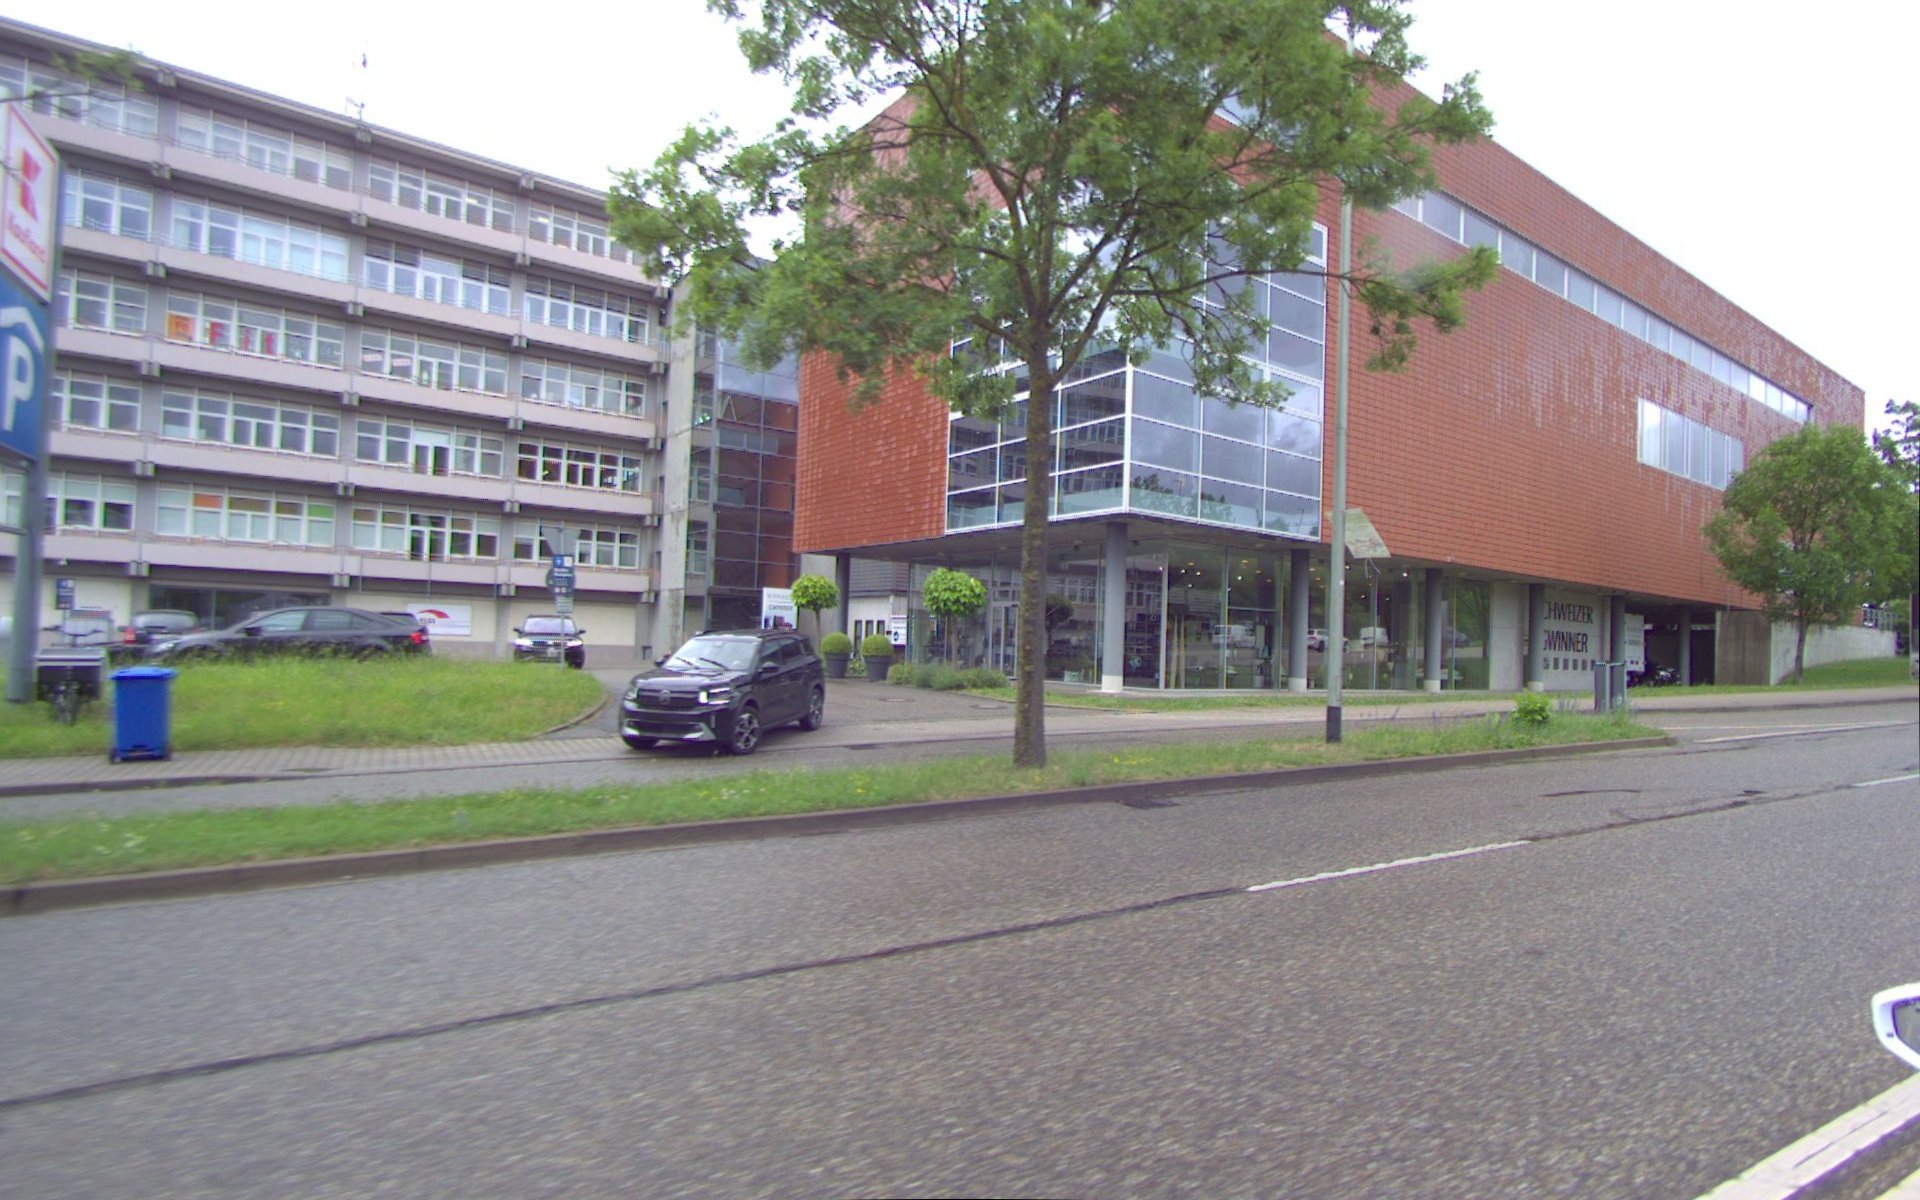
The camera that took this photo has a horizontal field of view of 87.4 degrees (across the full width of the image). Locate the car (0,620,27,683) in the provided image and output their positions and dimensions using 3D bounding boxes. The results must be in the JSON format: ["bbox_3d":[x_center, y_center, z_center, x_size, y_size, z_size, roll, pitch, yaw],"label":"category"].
[{"bbox_3d":[-26.585,1.353,26.993,1.831,1.530,4.243,0,0,-38],"label":"car"}]

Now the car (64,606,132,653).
[{"bbox_3d":[-35.024,1.153,40.886,1.783,1.755,3.958,0,0,-36],"label":"car"}]

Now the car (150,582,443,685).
[{"bbox_3d":[-12.754,0.578,19.636,4.558,1.797,2.126,0,0,-33],"label":"car"}]

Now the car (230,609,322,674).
[{"bbox_3d":[-18.396,1.046,26.955,1.803,1.530,4.077,0,0,-38],"label":"car"}]

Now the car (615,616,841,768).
[{"bbox_3d":[-3.244,1.206,14.999,1.764,1.705,4.285,3,1,8],"label":"car"}]

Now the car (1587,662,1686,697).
[{"bbox_3d":[31.543,3.685,46.923,1.501,1.301,3.523,2,0,-27],"label":"car"}]

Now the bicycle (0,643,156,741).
[{"bbox_3d":[-11.432,1.151,13.041,1.079,0.948,2.069,2,3,-26],"label":"bicycle"}]

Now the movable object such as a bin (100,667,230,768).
[{"bbox_3d":[-9.407,1.367,11.938,1.073,1.093,0.815,1,-2,-30],"label":"movable object such as a bin"}]

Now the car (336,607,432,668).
[{"bbox_3d":[-16.292,1.000,28.298,1.803,1.530,4.158,0,0,-38],"label":"car"}]

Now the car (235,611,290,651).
[{"bbox_3d":[-29.295,1.247,42.161,1.783,1.530,3.958,0,0,-36],"label":"car"}]

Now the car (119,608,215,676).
[{"bbox_3d":[-20.160,0.993,25.608,1.803,1.530,4.077,0,0,-38],"label":"car"}]

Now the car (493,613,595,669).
[{"bbox_3d":[-12.814,1.194,30.797,1.884,1.530,4.158,0,0,-38],"label":"car"}]

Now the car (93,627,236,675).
[{"bbox_3d":[-28.635,1.788,36.306,3.962,1.530,1.781,0,0,-37],"label":"car"}]
